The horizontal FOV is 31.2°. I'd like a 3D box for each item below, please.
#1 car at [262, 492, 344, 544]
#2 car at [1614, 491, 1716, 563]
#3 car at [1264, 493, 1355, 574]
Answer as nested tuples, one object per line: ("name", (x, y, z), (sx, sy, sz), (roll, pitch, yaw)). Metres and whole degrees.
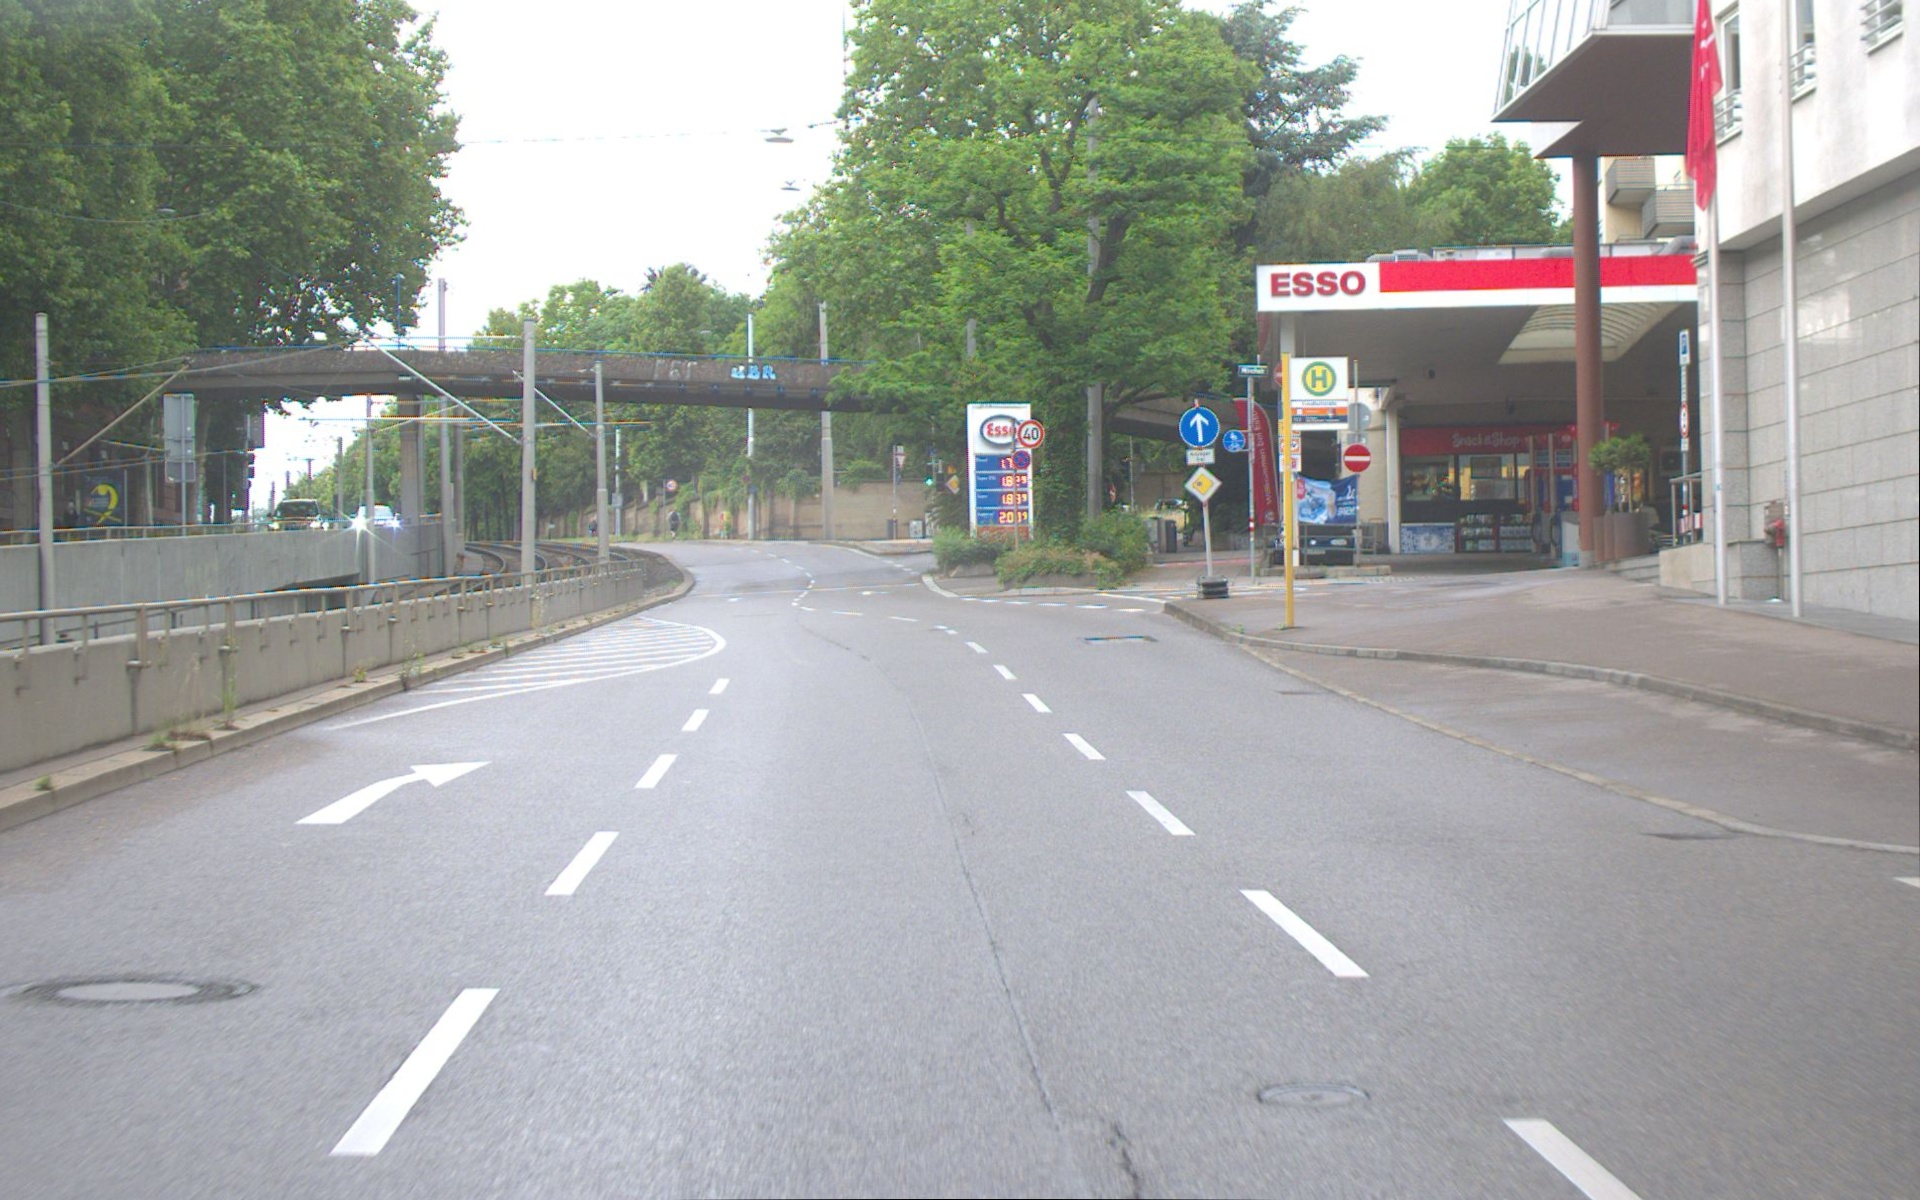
("car", (-23.927, -2.988, 125.315), (1.956, 1.846, 4.968), (1, 1, 1))
("car", (15.860, -1.623, 77.486), (1.794, 1.505, 3.999), (1, 0, 5))
("car", (7.614, -1.437, 74.570), (1.773, 1.618, 3.865), (-2, 1, 8))
